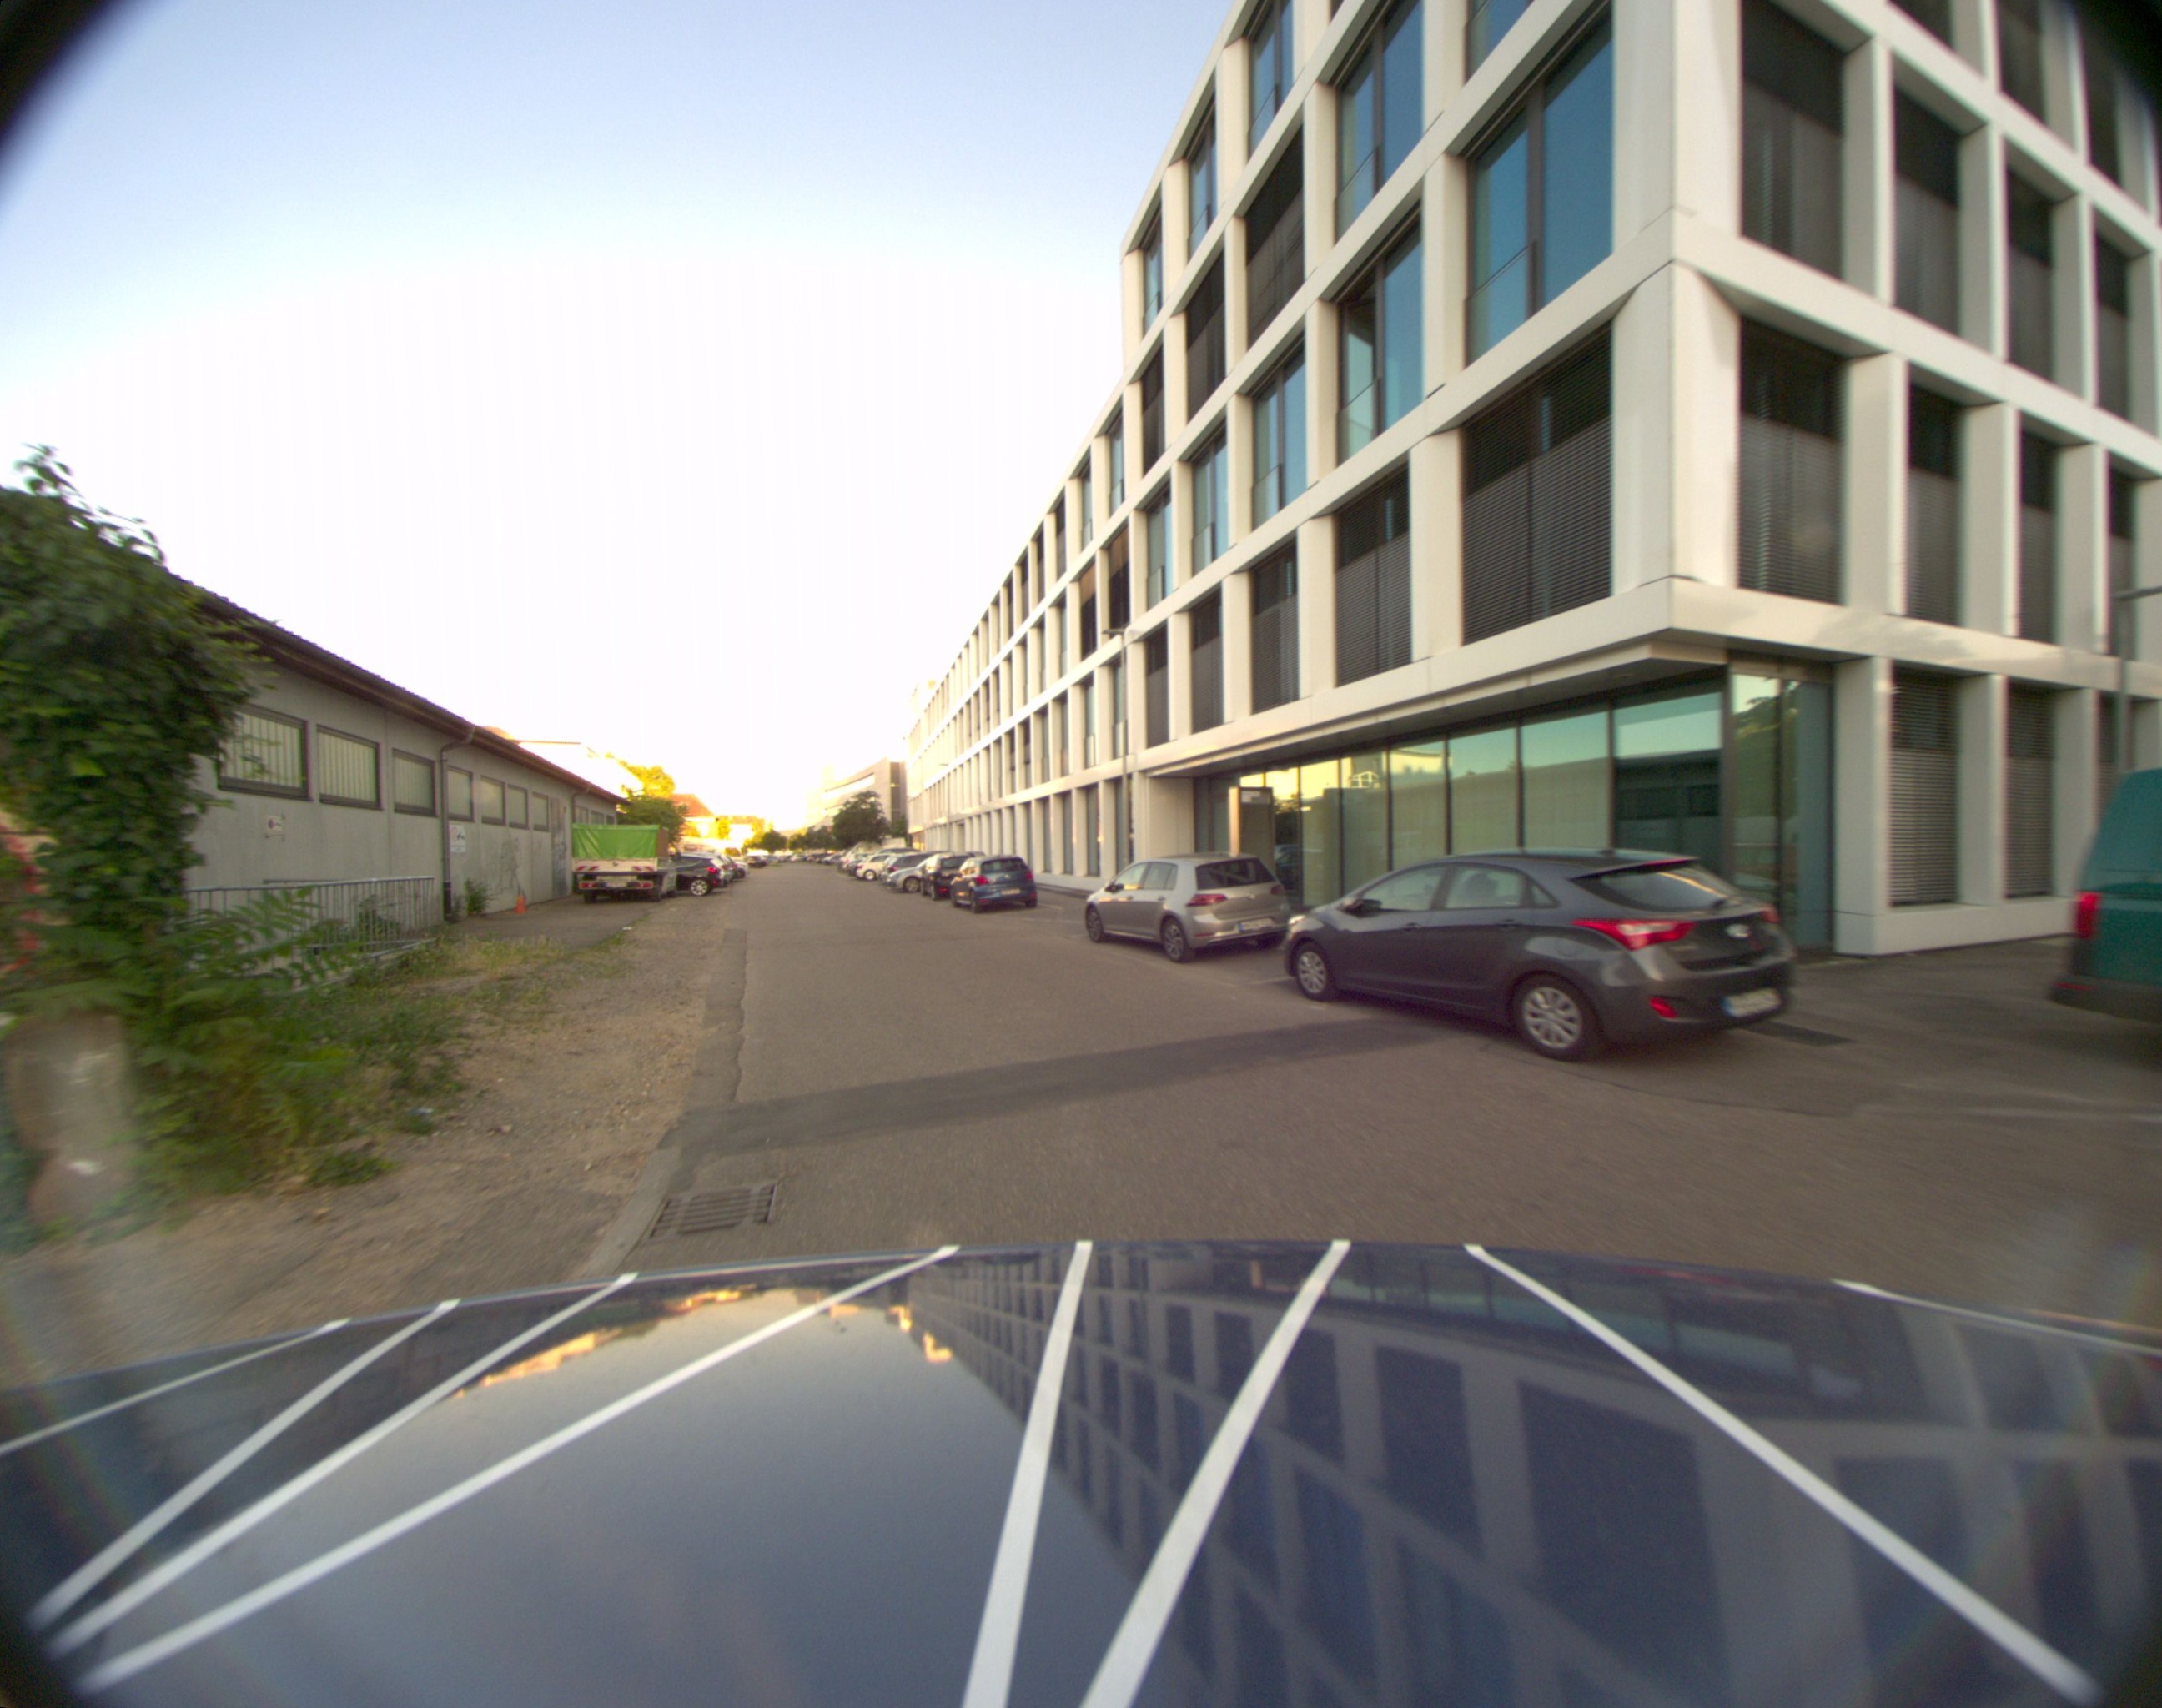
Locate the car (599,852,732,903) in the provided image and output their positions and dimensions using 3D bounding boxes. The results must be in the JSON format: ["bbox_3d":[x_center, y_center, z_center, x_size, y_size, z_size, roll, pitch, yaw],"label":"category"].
[{"bbox_3d":[-14.490,0.776,26.756,3.775,1.527,1.887,-2,3,-20],"label":"car"}]

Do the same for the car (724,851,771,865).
[{"bbox_3d":[-33.833,0.401,77.197,4.334,1.326,1.892,0,1,-23],"label":"car"}]

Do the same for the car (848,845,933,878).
[{"bbox_3d":[-11.085,0.411,44.177,4.636,1.696,2.001,-2,1,-16],"label":"car"}]

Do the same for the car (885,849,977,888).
[{"bbox_3d":[-6.486,0.607,32.785,3.669,1.502,1.685,-2,1,-19],"label":"car"}]

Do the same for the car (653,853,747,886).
[{"bbox_3d":[-19.169,0.755,38.406,4.000,1.437,1.823,-2,2,-20],"label":"car"}]

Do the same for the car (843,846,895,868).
[{"bbox_3d":[-18.630,0.251,66.665,4.126,1.806,1.812,-2,1,-23],"label":"car"}]

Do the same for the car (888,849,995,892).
[{"bbox_3d":[-5.559,0.634,30.250,3.942,1.502,1.685,-2,1,-18],"label":"car"}]

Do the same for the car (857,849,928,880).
[{"bbox_3d":[-10.350,0.543,41.705,3.680,1.502,1.694,-2,1,-16],"label":"car"}]

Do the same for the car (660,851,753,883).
[{"bbox_3d":[-20.026,0.661,40.810,4.219,1.494,1.886,-2,2,-19],"label":"car"}]

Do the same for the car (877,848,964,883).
[{"bbox_3d":[-7.971,0.557,37.605,3.980,1.502,1.793,-2,1,-18],"label":"car"}]

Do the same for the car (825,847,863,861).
[{"bbox_3d":[-35.226,-0.029,113.138,5.091,1.870,1.885,-3,2,-26],"label":"car"}]

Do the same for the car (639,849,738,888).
[{"bbox_3d":[-18.425,0.632,35.891,4.001,1.610,1.823,-2,1,-24],"label":"car"}]

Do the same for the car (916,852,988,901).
[{"bbox_3d":[-4.584,0.725,26.529,1.654,1.431,4.194,-5,2,-20],"label":"car"}]

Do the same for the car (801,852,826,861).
[{"bbox_3d":[-48.516,0.484,137.878,4.034,1.340,1.795,-3,2,-31],"label":"car"}]

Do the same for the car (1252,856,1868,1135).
[{"bbox_3d":[3.508,0.815,6.640,1.787,1.470,4.323,-3,1,-21],"label":"car"}]

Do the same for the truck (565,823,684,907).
[{"bbox_3d":[-13.480,0.314,22.825,2.107,2.187,5.701,-1,-1,-21],"label":"truck"}]

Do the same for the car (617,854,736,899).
[{"bbox_3d":[-15.325,0.824,29.039,3.775,1.436,1.841,-2,2,-22],"label":"car"}]

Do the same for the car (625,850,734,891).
[{"bbox_3d":[-17.516,0.682,33.366,4.001,1.600,1.935,-2,1,-22],"label":"car"}]

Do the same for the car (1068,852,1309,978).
[{"bbox_3d":[1.436,0.778,11.910,1.717,1.471,4.176,-5,2,-24],"label":"car"}]

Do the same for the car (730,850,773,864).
[{"bbox_3d":[-34.422,0.337,79.559,4.073,1.399,1.892,0,0,-23],"label":"car"}]

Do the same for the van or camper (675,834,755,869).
[{"bbox_3d":[-30.542,-0.221,63.636,5.806,2.848,2.482,0,1,-22],"label":"van or camper"}]

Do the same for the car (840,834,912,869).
[{"bbox_3d":[-16.650,-0.245,61.686,5.402,2.618,2.075,-2,1,-18],"label":"car"}]

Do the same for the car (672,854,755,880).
[{"bbox_3d":[-21.878,0.736,45.388,4.219,1.359,1.820,-2,1,-17],"label":"car"}]

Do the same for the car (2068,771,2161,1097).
[{"bbox_3d":[8.079,0.506,3.043,1.805,1.968,4.679,-1,2,-21],"label":"car"}]

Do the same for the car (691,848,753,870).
[{"bbox_3d":[-28.821,0.378,61.085,4.257,1.731,1.964,0,1,-16],"label":"car"}]

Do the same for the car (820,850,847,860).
[{"bbox_3d":[-39.625,0.156,121.643,3.818,1.353,1.795,-3,2,-25],"label":"car"}]

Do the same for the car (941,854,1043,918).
[{"bbox_3d":[-2.555,0.791,20.947,1.655,1.431,4.176,-5,2,-22],"label":"car"}]

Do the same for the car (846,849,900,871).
[{"bbox_3d":[-15.674,0.417,57.186,3.723,1.487,1.705,-2,1,-19],"label":"car"}]

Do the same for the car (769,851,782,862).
[{"bbox_3d":[-41.685,0.343,103.742,1.683,1.454,4.360,-1,0,-21],"label":"car"}]

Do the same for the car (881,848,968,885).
[{"bbox_3d":[-7.209,0.562,34.932,3.669,1.502,1.685,-2,1,-19],"label":"car"}]
